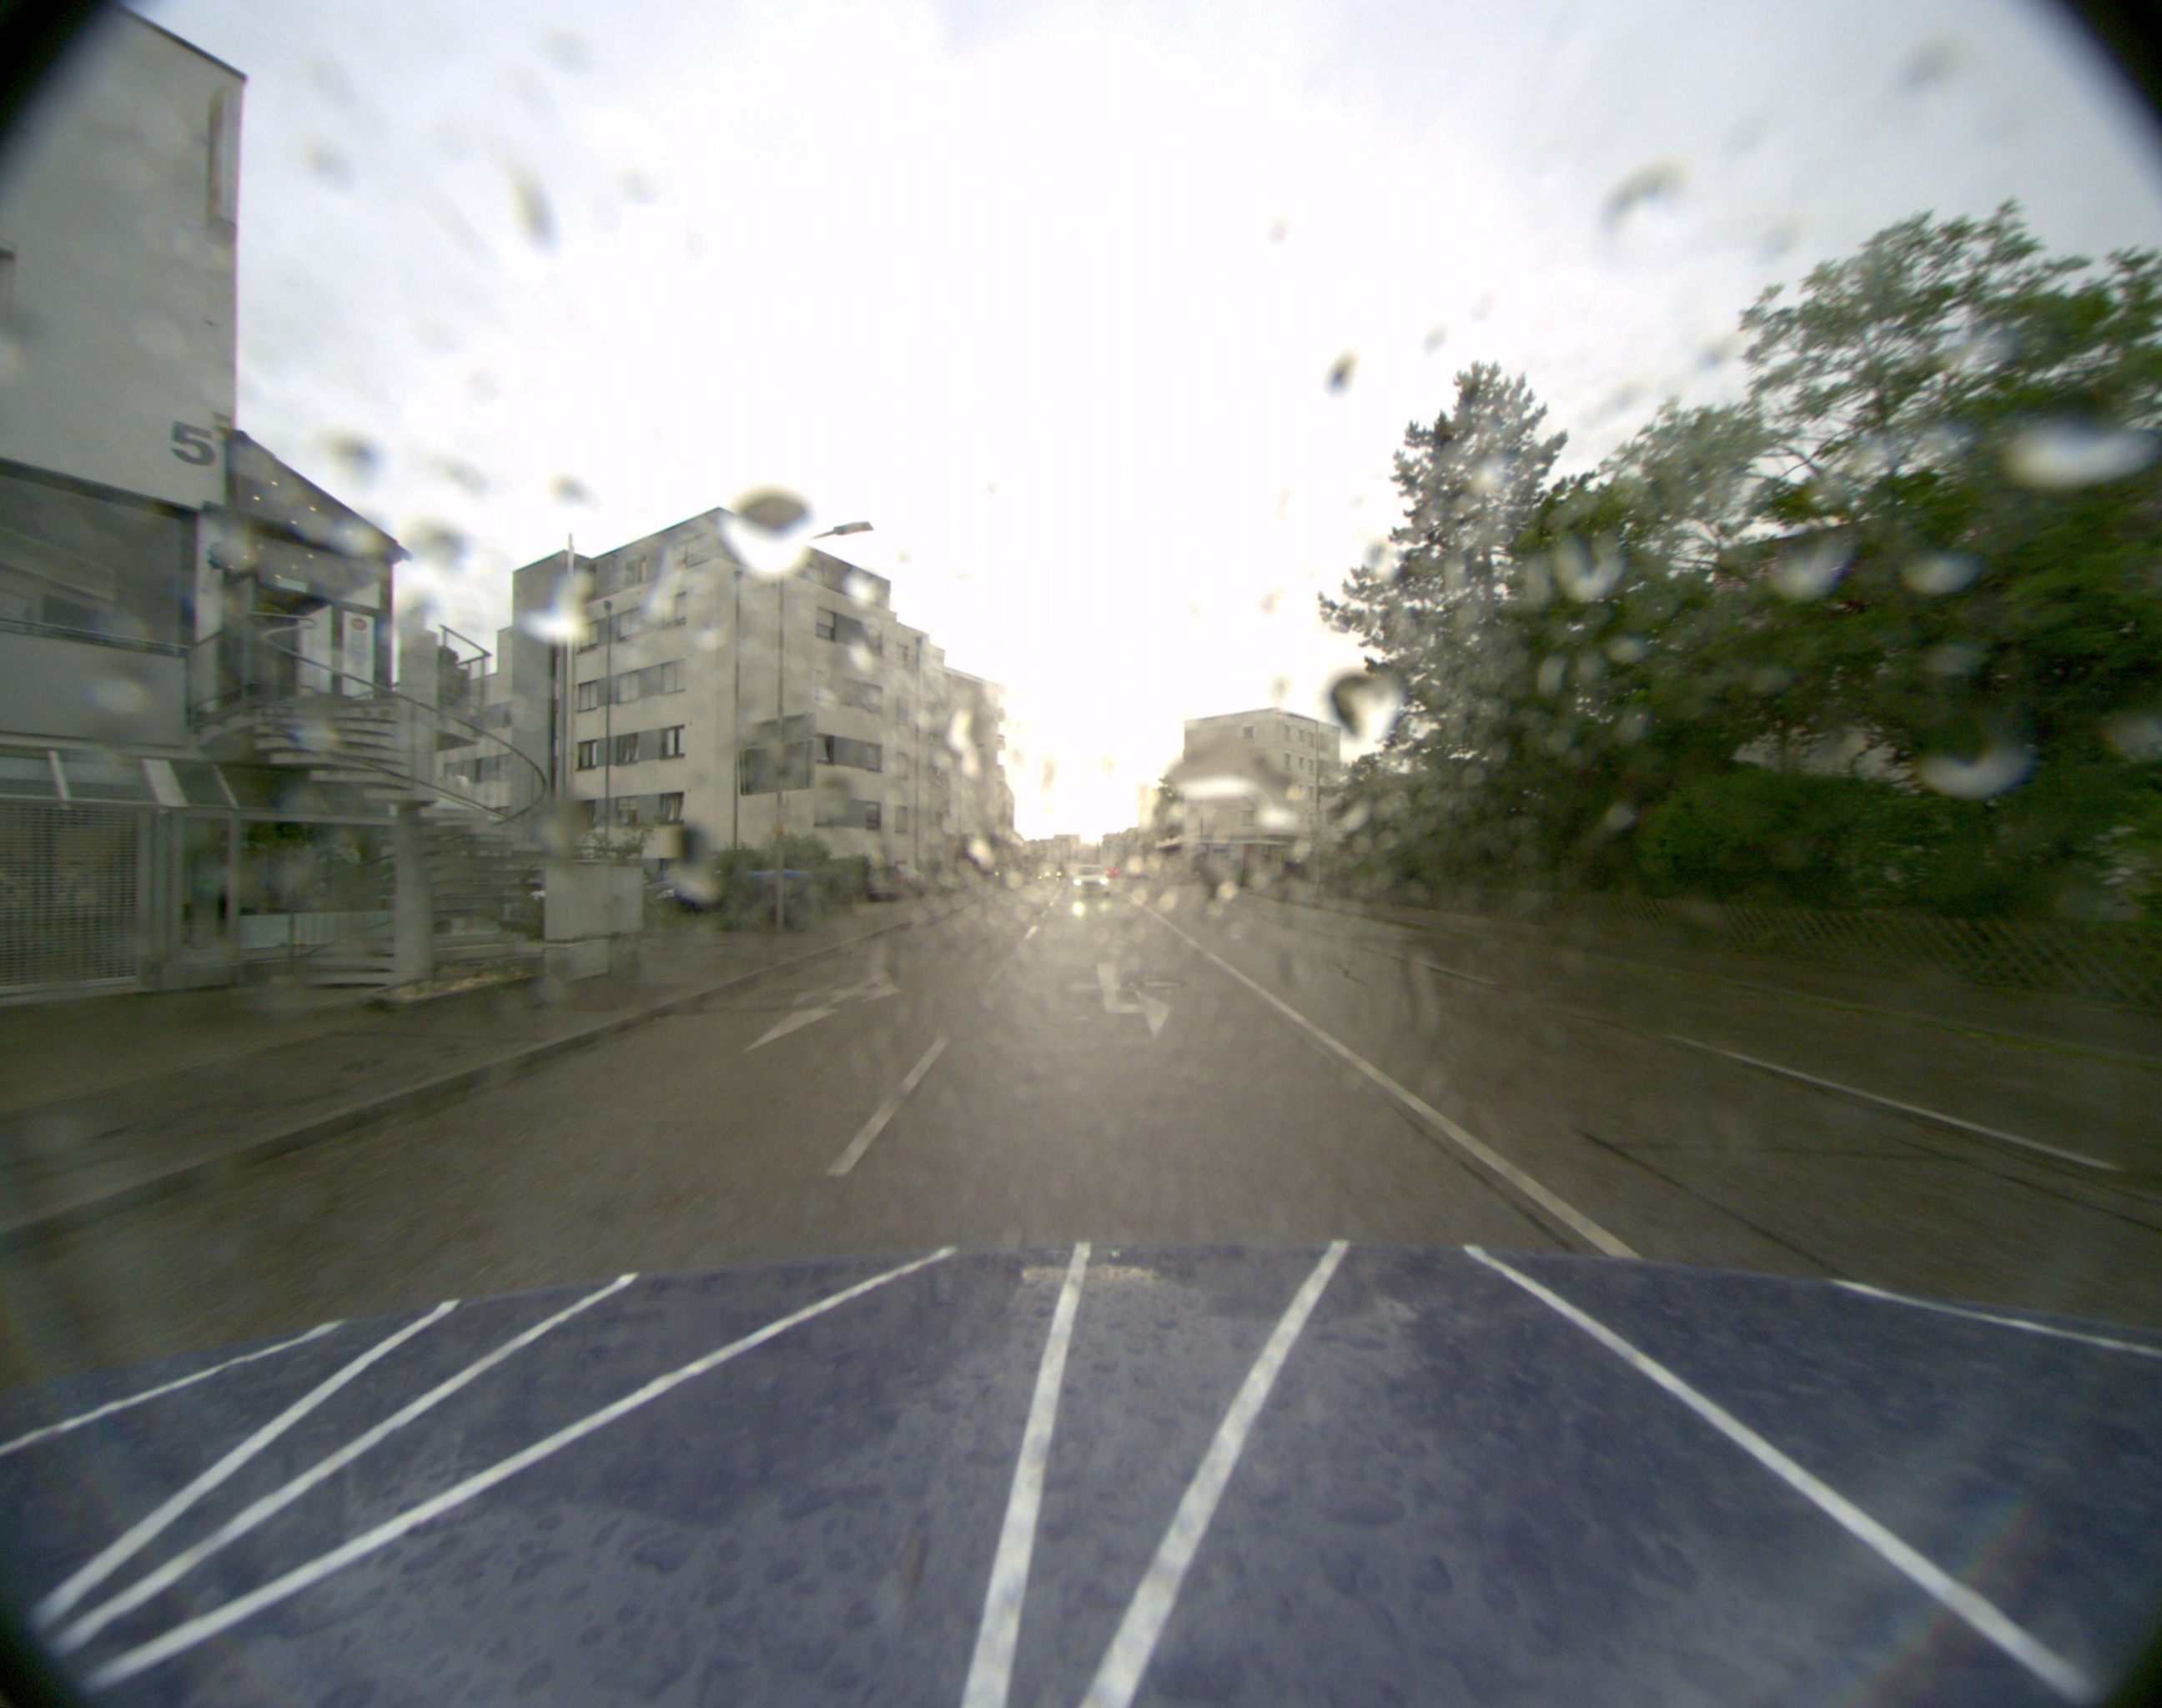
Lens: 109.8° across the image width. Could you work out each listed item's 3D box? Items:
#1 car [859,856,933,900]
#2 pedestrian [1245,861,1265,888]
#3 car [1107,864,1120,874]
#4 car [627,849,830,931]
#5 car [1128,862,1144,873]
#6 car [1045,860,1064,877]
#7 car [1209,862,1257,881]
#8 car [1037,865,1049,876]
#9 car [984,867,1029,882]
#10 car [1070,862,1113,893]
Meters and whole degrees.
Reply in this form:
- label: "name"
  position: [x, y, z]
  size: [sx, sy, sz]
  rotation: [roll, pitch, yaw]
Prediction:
- label: "car"
  position: [-7.897, 0.998, 32.920]
  size: [1.998, 1.775, 4.691]
  rotation: [0, -1, 1]
- label: "pedestrian"
  position: [10.479, 1.242, 45.841]
  size: [0.872, 1.597, 1.102]
  rotation: [0, 1, -7]
- label: "car"
  position: [4.897, 2.263, 113.582]
  size: [1.807, 1.547, 4.321]
  rotation: [-1, -2, 3]
- label: "car"
  position: [-9.642, 0.906, 21.186]
  size: [1.994, 2.001, 4.790]
  rotation: [0, -1, 33]
- label: "car"
  position: [7.517, 1.917, 104.481]
  size: [1.702, 1.400, 4.000]
  rotation: [3, -2, -2]
- label: "car"
  position: [-3.193, 1.816, 93.155]
  size: [1.998, 2.001, 4.002]
  rotation: [0, -2, 2]
- label: "car"
  position: [12.818, 1.415, 63.962]
  size: [1.994, 1.537, 4.481]
  rotation: [0, 0, 42]
- label: "car"
  position: [-7.036, 3.135, 140.677]
  size: [1.998, 2.001, 4.001]
  rotation: [0, -2, 1]
- label: "car"
  position: [-7.624, 2.136, 77.394]
  size: [4.260, 1.485, 1.877]
  rotation: [-1, -3, 28]
- label: "car"
  position: [0.461, 1.146, 37.595]
  size: [1.830, 1.430, 4.345]
  rotation: [-1, -2, -2]
